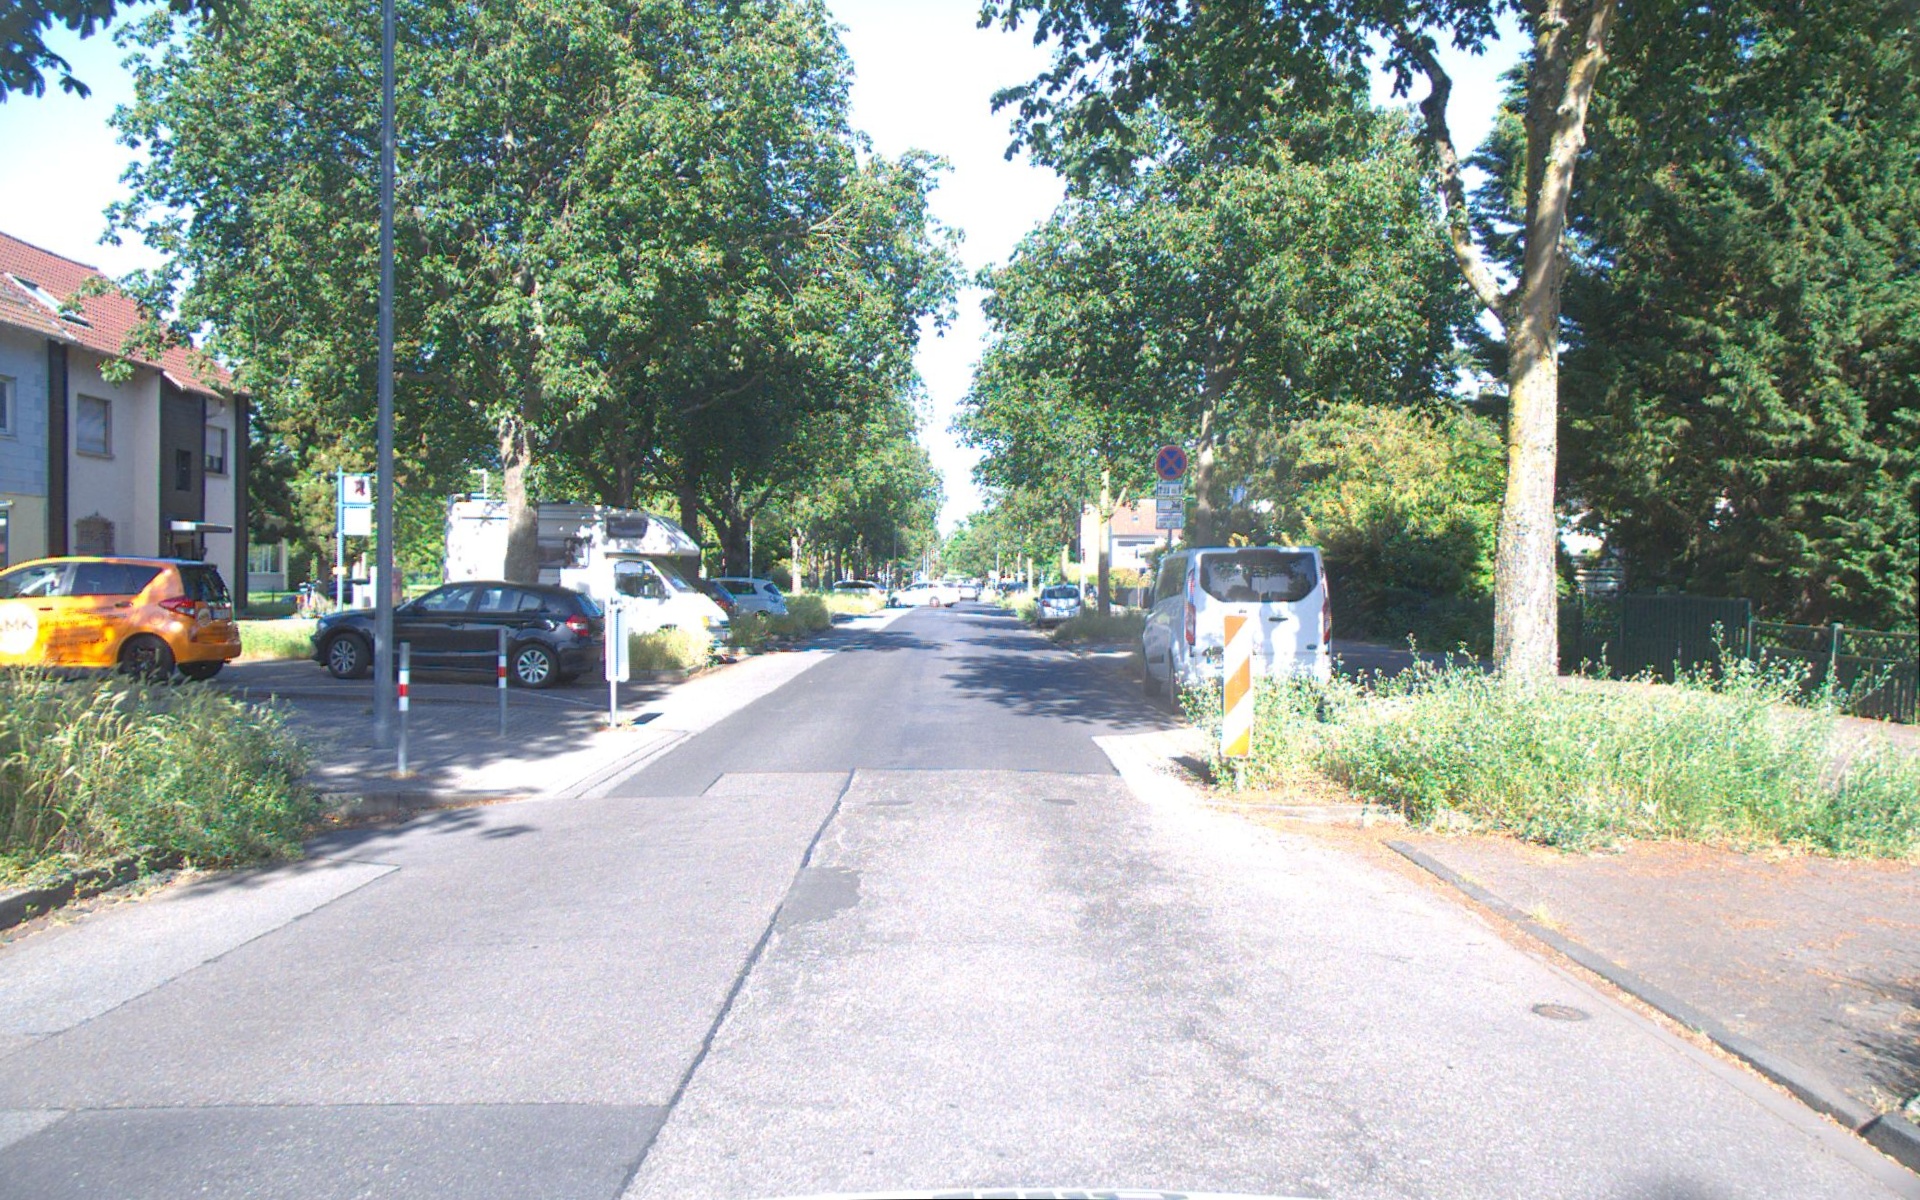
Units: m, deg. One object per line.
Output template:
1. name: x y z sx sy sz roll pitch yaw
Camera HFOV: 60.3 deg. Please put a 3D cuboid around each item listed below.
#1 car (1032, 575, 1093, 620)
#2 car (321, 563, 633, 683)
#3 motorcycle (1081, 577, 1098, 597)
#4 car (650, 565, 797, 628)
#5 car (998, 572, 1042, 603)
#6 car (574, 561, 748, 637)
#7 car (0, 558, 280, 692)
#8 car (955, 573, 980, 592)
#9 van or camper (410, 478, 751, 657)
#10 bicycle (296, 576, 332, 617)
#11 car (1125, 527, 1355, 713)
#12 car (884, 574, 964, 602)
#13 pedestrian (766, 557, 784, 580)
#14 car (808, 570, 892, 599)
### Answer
1. car: 3.696 -0.066 59.324 1.951 1.537 4.003 0 0 7
2. car: -6.862 0.310 23.740 3.904 1.475 1.640 3 0 3
3. motorcycle: 7.966 -0.816 101.932 0.801 1.248 2.351 -1 1 -1
4. car: -6.724 -0.120 47.292 3.906 1.689 1.966 1 1 -1
5. car: 3.598 -0.760 99.352 1.955 1.650 4.376 4 0 -6
6. car: -7.401 -0.031 41.266 3.907 1.616 2.000 4 0 -1
7. car: -11.084 0.283 21.242 3.910 1.569 1.868 2 0 -6
8. car: 0.663 -1.502 145.980 1.954 1.534 3.656 4 0 -3
9. van or camper: -6.910 -0.588 30.554 5.657 2.853 2.000 4 0 2
10. bicycle: -20.278 -0.147 51.980 0.692 1.197 4.039 0 1 -16
11. car: 3.534 0.223 21.944 1.953 2.048 5.195 4 0 -1
12. car: -2.078 -0.694 95.002 4.130 1.480 1.997 1 1 28
13. pedestrian: -15.359 -2.632 137.250 1.205 1.859 1.544 2 0 -17
14. car: -6.209 -0.856 93.562 4.575 1.529 2.000 1 0 1
